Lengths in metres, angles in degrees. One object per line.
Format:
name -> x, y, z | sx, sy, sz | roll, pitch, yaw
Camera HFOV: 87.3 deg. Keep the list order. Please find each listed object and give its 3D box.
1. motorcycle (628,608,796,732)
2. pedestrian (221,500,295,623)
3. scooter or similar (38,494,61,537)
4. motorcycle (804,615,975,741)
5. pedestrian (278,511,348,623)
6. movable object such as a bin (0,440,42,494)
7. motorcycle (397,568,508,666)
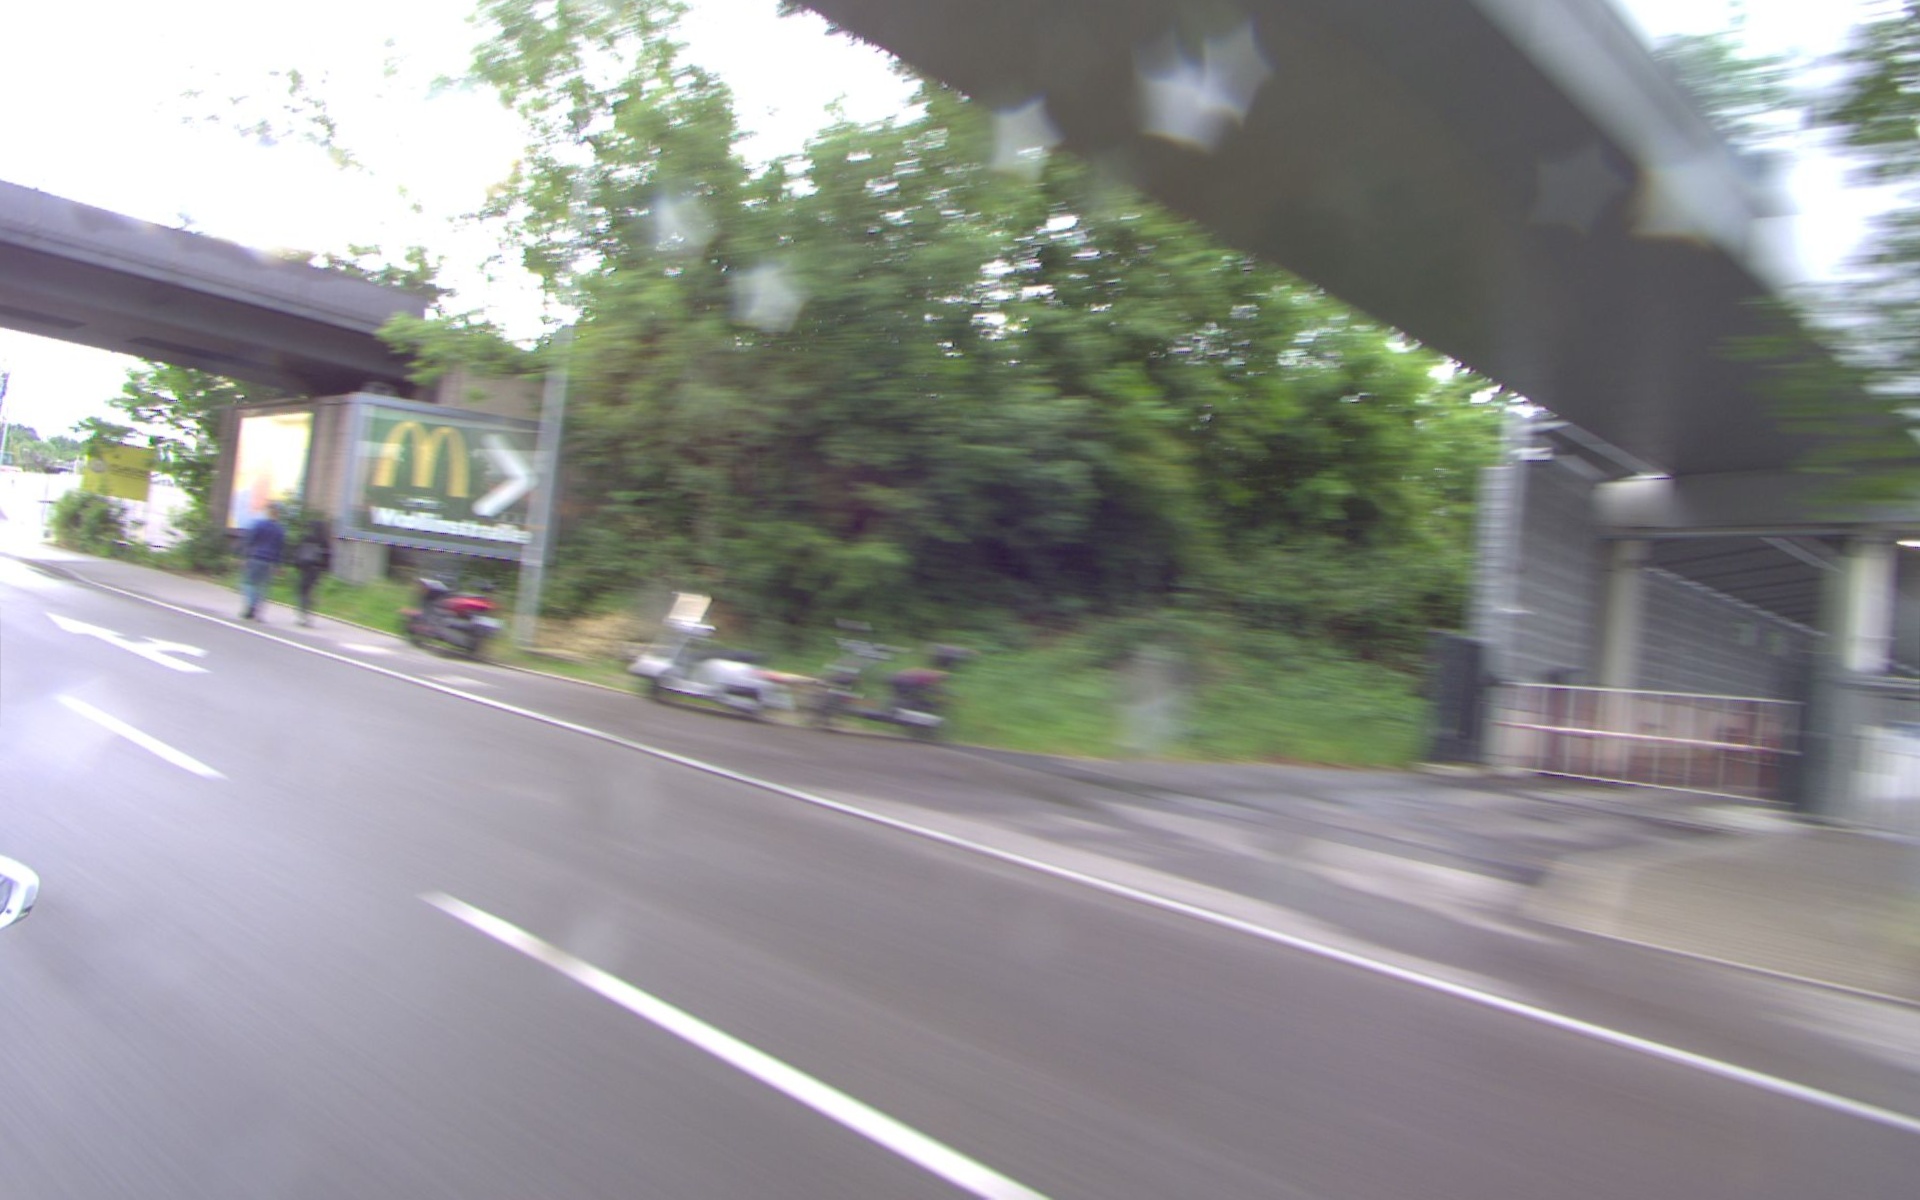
motorcycle -> -3.061, 0.846, 12.405 | 1.908, 1.227, 0.471 | 7, 0, 16
pedestrian -> -10.618, -0.595, 15.204 | 0.609, 1.741, 0.880 | 8, 0, -45
scooter or similar -> -25.724, -2.392, 28.424 | 0.254, 1.142, 1.266 | 9, -1, -38
motorcycle -> -0.873, 0.976, 12.543 | 1.918, 1.313, 0.545 | 8, -1, -20
pedestrian -> -9.921, -0.501, 15.420 | 0.649, 1.615, 0.571 | 8, 0, -43
movable object such as a bin -> -67.925, -9.571, 71.239 | 5.329, 3.314, 2.309 | 9, -1, 28
motorcycle -> -7.116, 0.223, 14.069 | 1.790, 1.150, 0.470 | 7, 0, 35
